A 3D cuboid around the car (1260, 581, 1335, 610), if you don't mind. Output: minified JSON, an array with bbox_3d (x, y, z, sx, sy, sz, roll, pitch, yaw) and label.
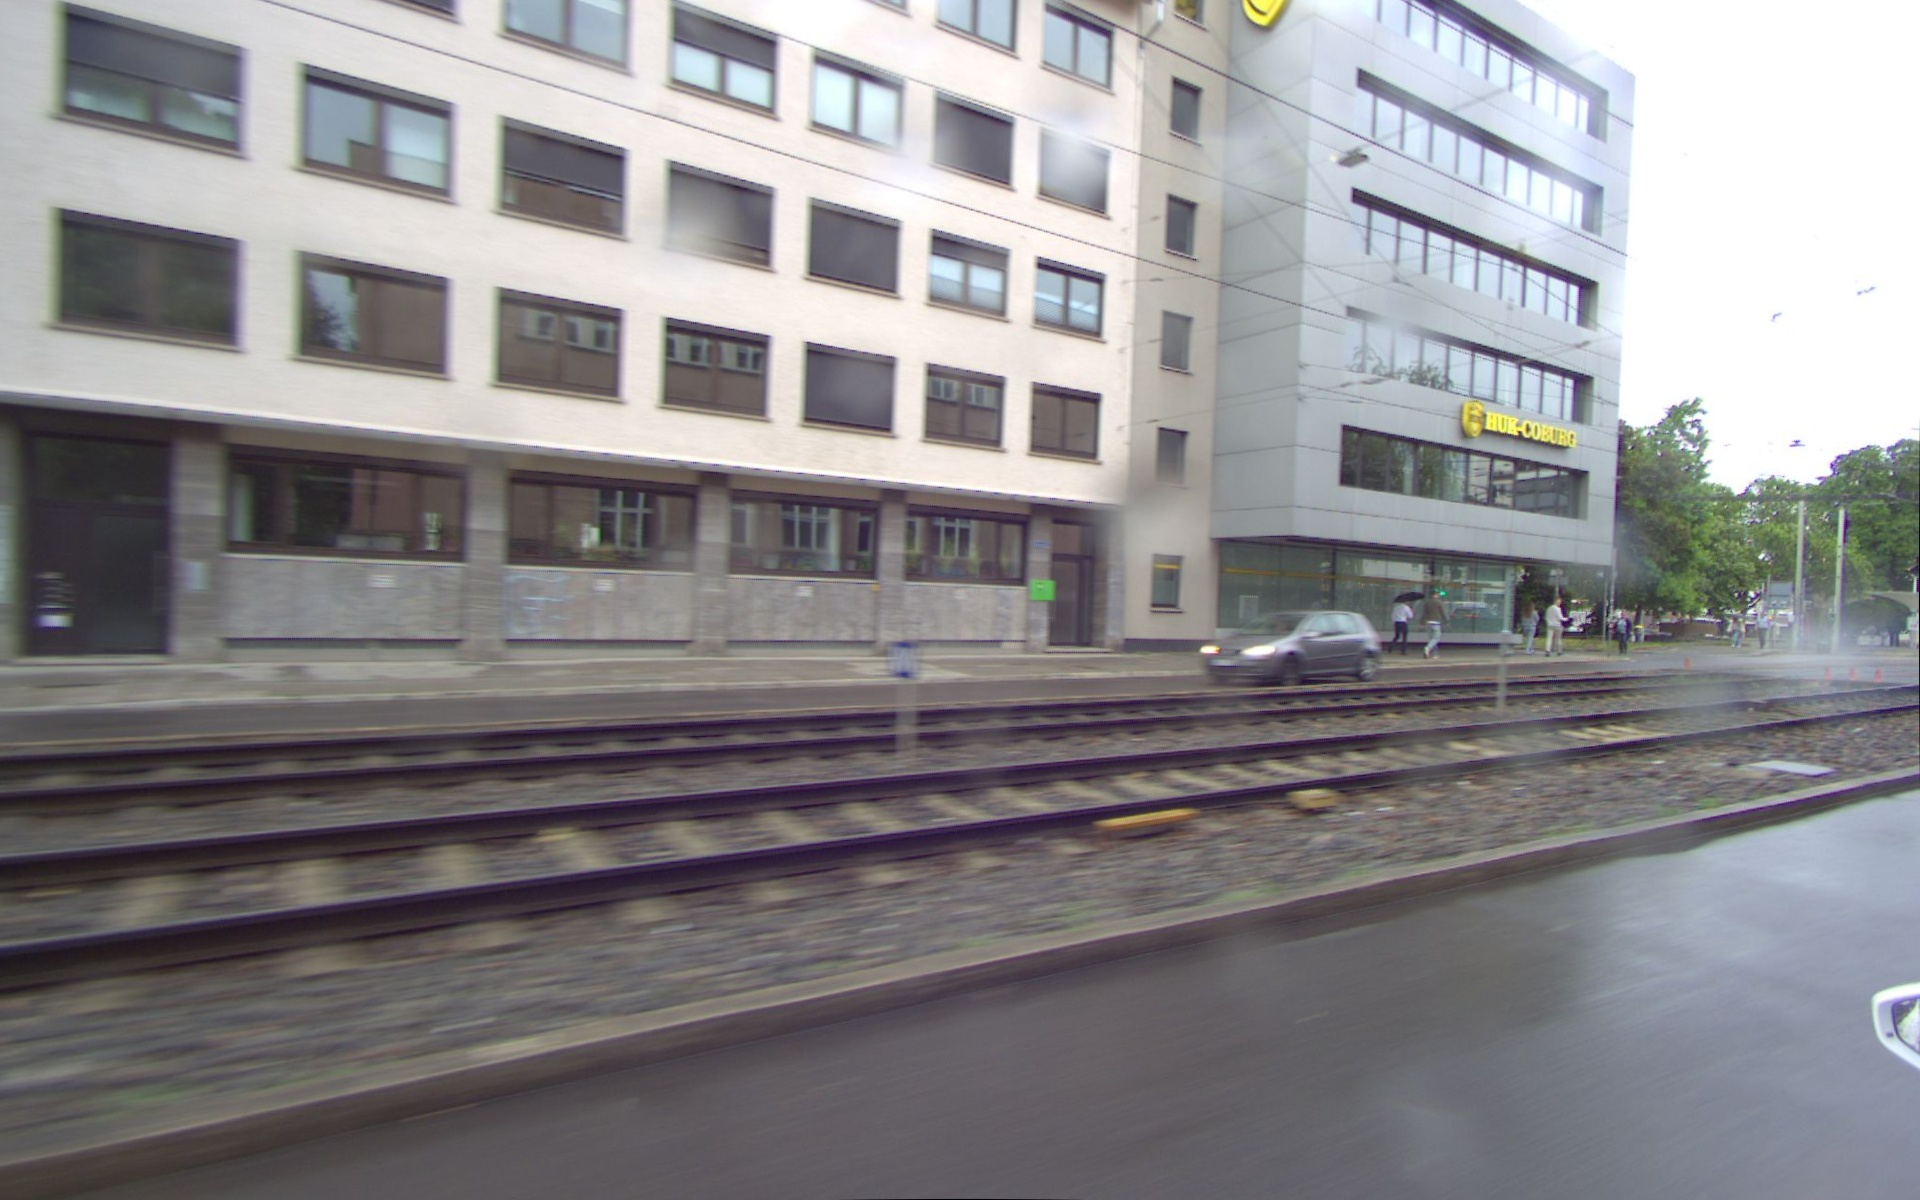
[{"bbox_3d":[17.977,-0.238,53.531,3.479,1.467,1.698,1,-1,33],"label":"car"}]

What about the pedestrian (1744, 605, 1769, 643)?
[{"bbox_3d":[41.651,1.248,52.554,0.899,1.888,0.999,5,2,39],"label":"pedestrian"}]

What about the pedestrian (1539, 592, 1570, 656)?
[{"bbox_3d":[19.467,0.773,32.900,0.650,2.041,0.617,4,2,20],"label":"pedestrian"}]

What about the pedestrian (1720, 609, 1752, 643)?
[{"bbox_3d":[39.156,1.310,50.697,0.895,1.615,1.003,4,2,16],"label":"pedestrian"}]

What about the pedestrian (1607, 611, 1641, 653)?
[{"bbox_3d":[26.670,1.266,40.337,0.953,1.615,0.586,5,3,42],"label":"pedestrian"}]

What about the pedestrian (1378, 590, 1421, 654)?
[{"bbox_3d":[13.179,0.663,30.106,0.962,1.840,0.657,2,2,-31],"label":"pedestrian"}]

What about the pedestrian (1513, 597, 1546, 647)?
[{"bbox_3d":[19.022,0.733,33.569,0.625,1.615,0.587,2,2,-15],"label":"pedestrian"}]

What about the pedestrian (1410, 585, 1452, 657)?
[{"bbox_3d":[13.758,0.602,29.365,0.801,2.041,0.657,2,2,-31],"label":"pedestrian"}]

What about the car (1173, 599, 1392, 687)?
[{"bbox_3d":[6.396,0.840,19.758,4.306,1.556,1.927,2,-3,-35],"label":"car"}]
